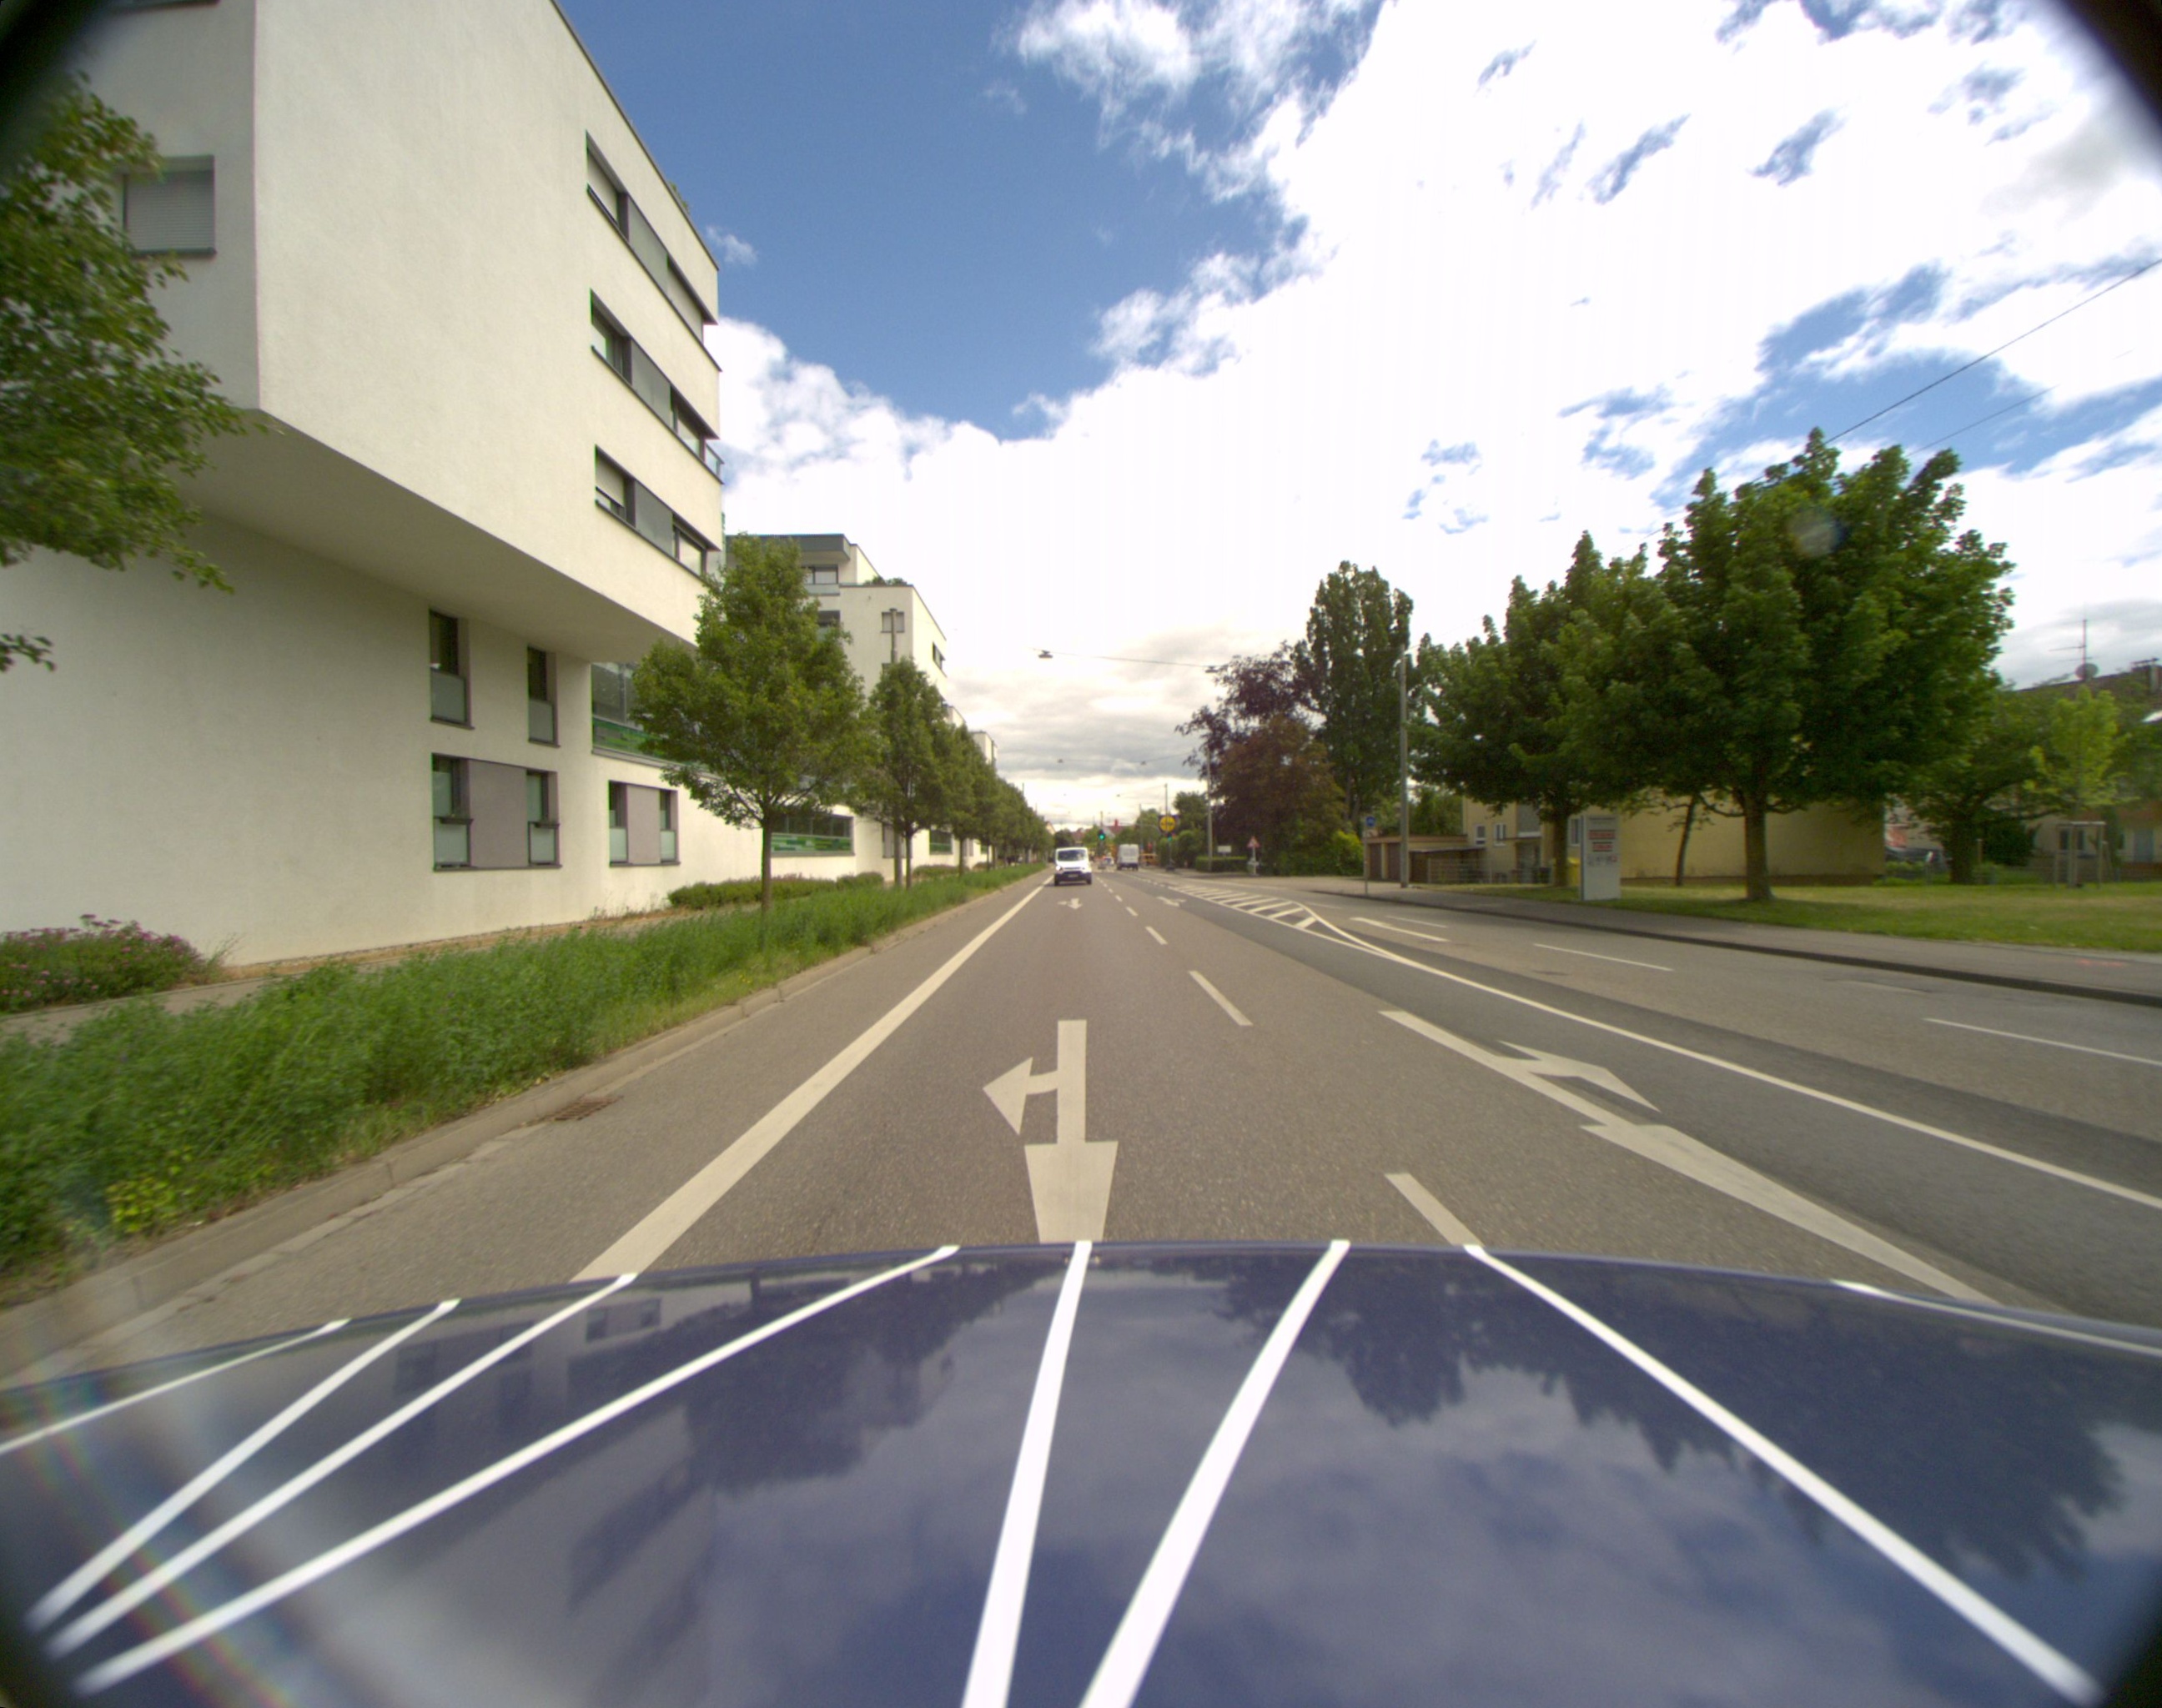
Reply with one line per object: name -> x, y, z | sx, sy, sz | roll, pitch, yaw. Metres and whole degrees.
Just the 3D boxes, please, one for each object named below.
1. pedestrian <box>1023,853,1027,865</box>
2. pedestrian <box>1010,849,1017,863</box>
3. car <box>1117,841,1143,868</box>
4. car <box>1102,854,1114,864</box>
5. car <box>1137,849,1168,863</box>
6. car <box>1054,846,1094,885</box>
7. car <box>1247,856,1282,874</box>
pedestrian -> -8.143, 0.739, 110.762 | 0.559, 1.649, 0.607 | -3, 2, -1
pedestrian -> -9.066, 0.261, 102.079 | 0.742, 1.875, 0.701 | -3, 2, -4
car -> 5.320, 0.096, 83.124 | 2.149, 2.803, 6.147 | 1, 0, -2
car -> 4.100, 0.722, 116.445 | 1.611, 1.510, 3.239 | 2, 1, -2
car -> 10.555, 0.259, 112.391 | 4.004, 1.774, 1.996 | -3, 1, -24
car -> -0.372, 0.563, 41.002 | 1.999, 1.905, 3.999 | -2, 1, -1
car -> 15.456, 0.880, 64.166 | 1.666, 1.380, 3.521 | 1, 1, -6
